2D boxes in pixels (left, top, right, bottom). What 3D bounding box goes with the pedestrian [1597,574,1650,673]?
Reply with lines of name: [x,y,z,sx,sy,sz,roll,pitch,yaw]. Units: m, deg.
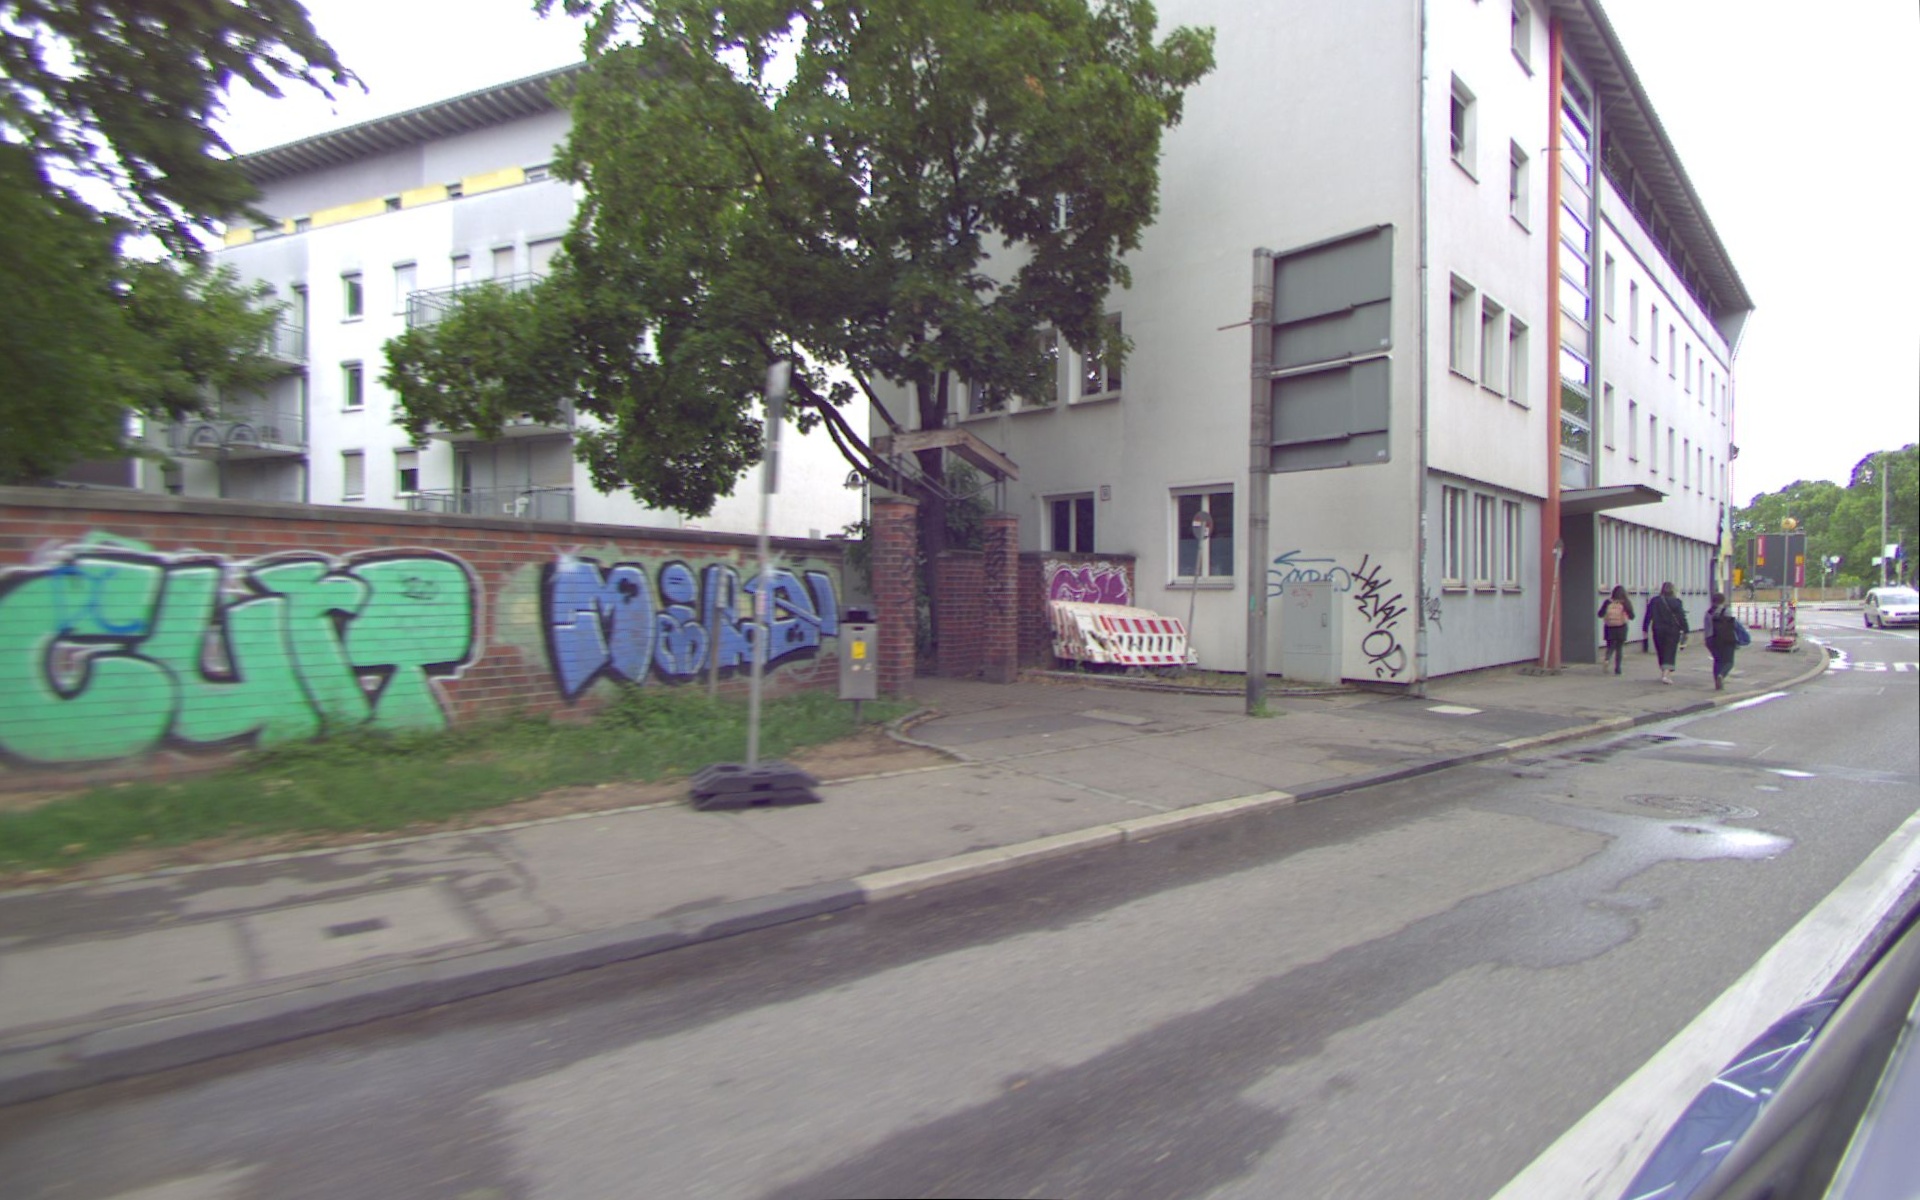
pedestrian: [12.139,0.420,18.519,0.596,1.779,0.544,2,1,-33]

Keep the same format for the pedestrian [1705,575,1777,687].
pedestrian: [13.256,0.505,17.174,0.803,1.816,0.927,3,1,44]

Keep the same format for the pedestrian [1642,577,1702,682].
pedestrian: [12.557,0.509,17.844,0.687,1.779,0.864,3,1,44]

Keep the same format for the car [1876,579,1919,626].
car: [42.669,0.074,45.502,2.065,1.807,4.393,-4,1,42]
